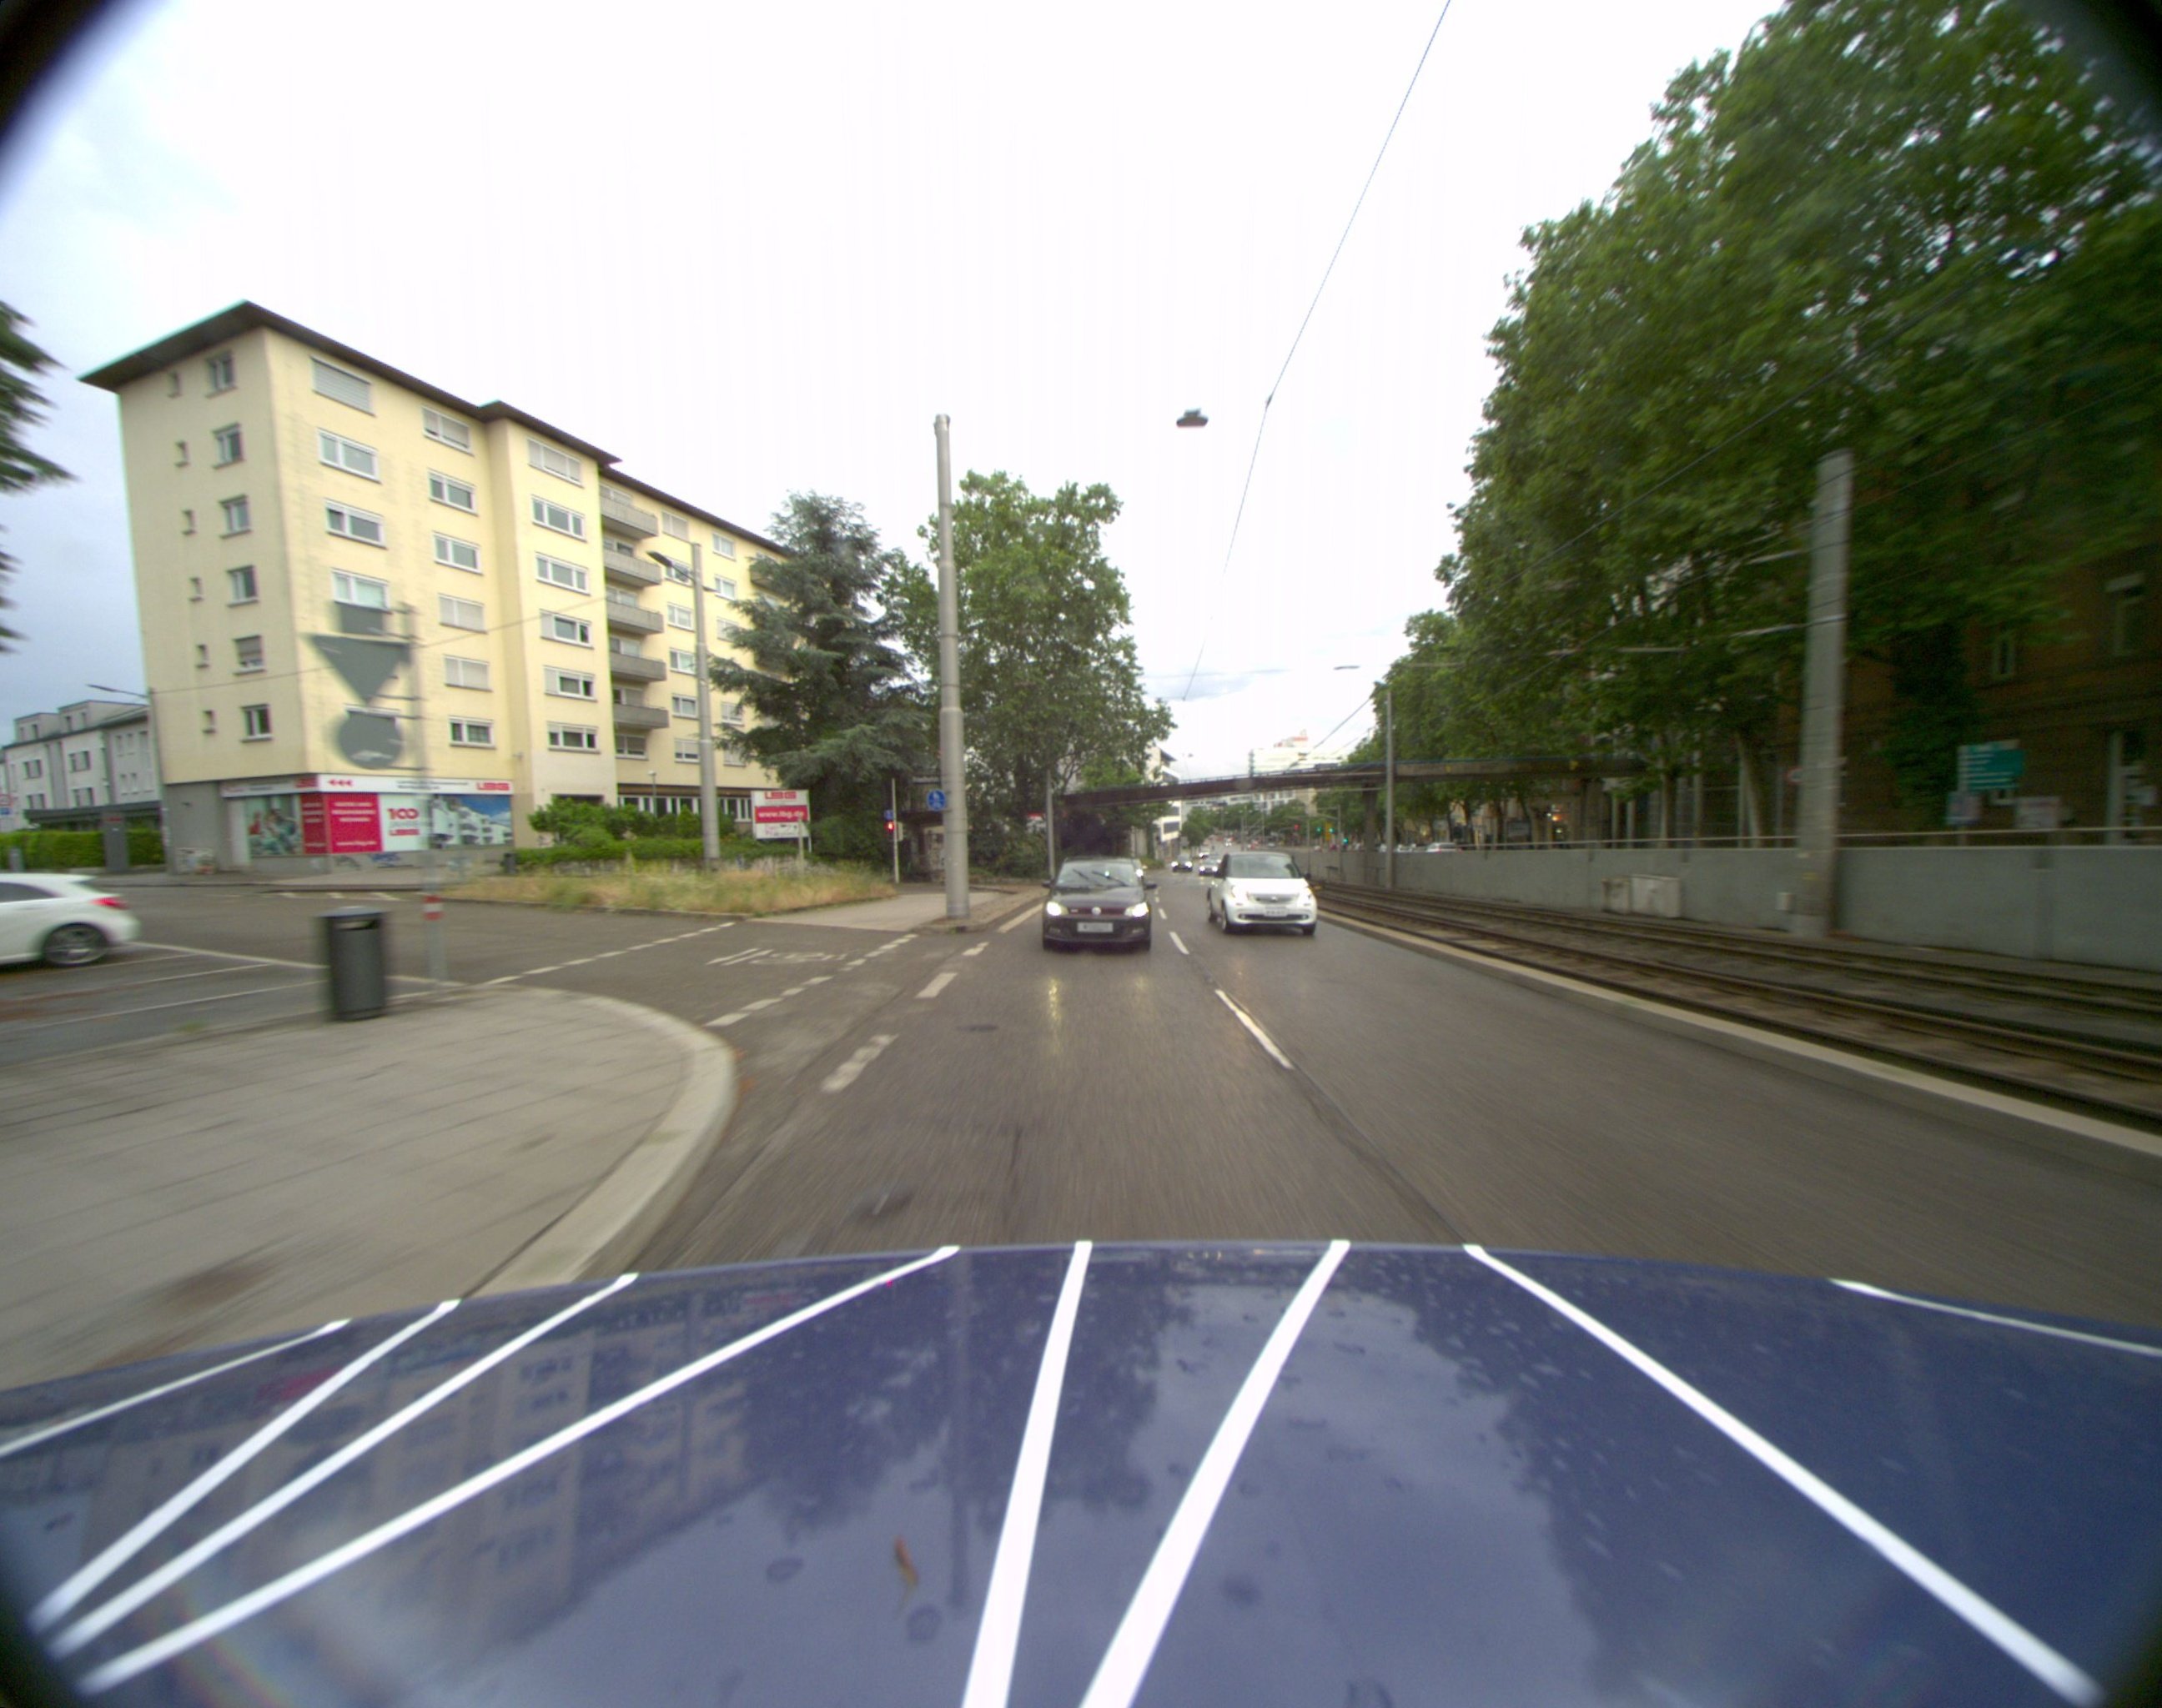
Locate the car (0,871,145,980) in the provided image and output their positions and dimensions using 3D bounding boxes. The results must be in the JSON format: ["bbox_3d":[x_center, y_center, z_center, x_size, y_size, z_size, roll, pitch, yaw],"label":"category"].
[{"bbox_3d":[-16.326,1.119,10.423,1.754,1.399,4.005,1,4,26],"label":"car"}]

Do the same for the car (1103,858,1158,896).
[{"bbox_3d":[2.275,0.998,33.821,1.749,1.433,3.709,-1,2,15],"label":"car"}]

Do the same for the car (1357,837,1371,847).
[{"bbox_3d":[52.125,-2.184,139.936,1.879,1.754,4.905,-3,0,14],"label":"car"}]

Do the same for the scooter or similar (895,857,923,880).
[{"bbox_3d":[-9.164,0.768,40.501,0.600,1.211,1.921,1,0,14],"label":"scooter or similar"}]

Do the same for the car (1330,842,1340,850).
[{"bbox_3d":[61.097,-1.893,182.700,1.959,1.842,4.973,-3,0,16],"label":"car"}]

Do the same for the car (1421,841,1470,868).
[{"bbox_3d":[24.191,0.007,50.586,1.797,1.602,4.362,-3,0,10],"label":"car"}]

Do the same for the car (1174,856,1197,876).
[{"bbox_3d":[10.440,1.194,75.645,1.797,1.657,4.003,-3,1,13],"label":"car"}]

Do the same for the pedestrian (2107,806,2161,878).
[{"bbox_3d":[24.242,-0.277,17.384,0.593,1.615,0.724,1,1,21],"label":"pedestrian"}]

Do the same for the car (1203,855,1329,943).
[{"bbox_3d":[3.584,0.793,15.418,1.798,1.528,4.001,1,0,4],"label":"car"}]

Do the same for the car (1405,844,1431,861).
[{"bbox_3d":[35.802,-0.191,80.767,1.797,1.602,4.116,-3,0,14],"label":"car"}]

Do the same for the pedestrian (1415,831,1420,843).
[{"bbox_3d":[50.194,-2.498,113.372,0.523,1.738,0.622,-4,1,22],"label":"pedestrian"}]

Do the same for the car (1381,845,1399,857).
[{"bbox_3d":[41.546,-0.475,102.212,1.797,1.501,4.212,-3,0,15],"label":"car"}]

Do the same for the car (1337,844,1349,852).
[{"bbox_3d":[53.590,-1.275,155.212,1.797,1.501,4.111,-3,0,12],"label":"car"}]

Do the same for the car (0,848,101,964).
[{"bbox_3d":[-18.562,0.939,11.435,1.754,1.794,4.278,1,4,26],"label":"car"}]

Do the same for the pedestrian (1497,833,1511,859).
[{"bbox_3d":[32.803,-0.620,58.936,0.670,2.002,0.935,-3,2,17],"label":"pedestrian"}]

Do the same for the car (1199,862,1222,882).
[{"bbox_3d":[11.547,1.570,67.613,1.797,1.502,4.003,-3,1,13],"label":"car"}]

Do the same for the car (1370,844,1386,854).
[{"bbox_3d":[47.315,-0.837,120.966,1.797,1.501,4.676,-3,0,15],"label":"car"}]

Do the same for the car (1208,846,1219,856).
[{"bbox_3d":[22.649,-0.579,130.109,1.797,1.602,4.362,-3,0,10],"label":"car"}]

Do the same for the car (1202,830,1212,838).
[{"bbox_3d":[25.892,-4.148,155.738,1.797,1.502,4.003,-3,1,13],"label":"car"}]

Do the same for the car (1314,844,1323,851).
[{"bbox_3d":[57.165,-1.571,182.932,1.797,1.501,4.003,-3,0,13],"label":"car"}]

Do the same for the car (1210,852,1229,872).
[{"bbox_3d":[15.247,0.869,83.700,1.797,2.021,4.003,-3,1,13],"label":"car"}]

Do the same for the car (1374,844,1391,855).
[{"bbox_3d":[44.593,-0.693,112.413,1.797,1.562,4.212,-3,0,15],"label":"car"}]

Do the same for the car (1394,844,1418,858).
[{"bbox_3d":[39.215,-0.389,91.827,1.930,1.592,5.204,-3,0,15],"label":"car"}]

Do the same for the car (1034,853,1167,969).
[{"bbox_3d":[0.385,0.731,11.628,1.677,1.392,3.849,-1,1,4],"label":"car"}]

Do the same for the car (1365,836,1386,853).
[{"bbox_3d":[49.904,-1.567,128.869,2.456,2.647,6.938,-3,0,15],"label":"car"}]
